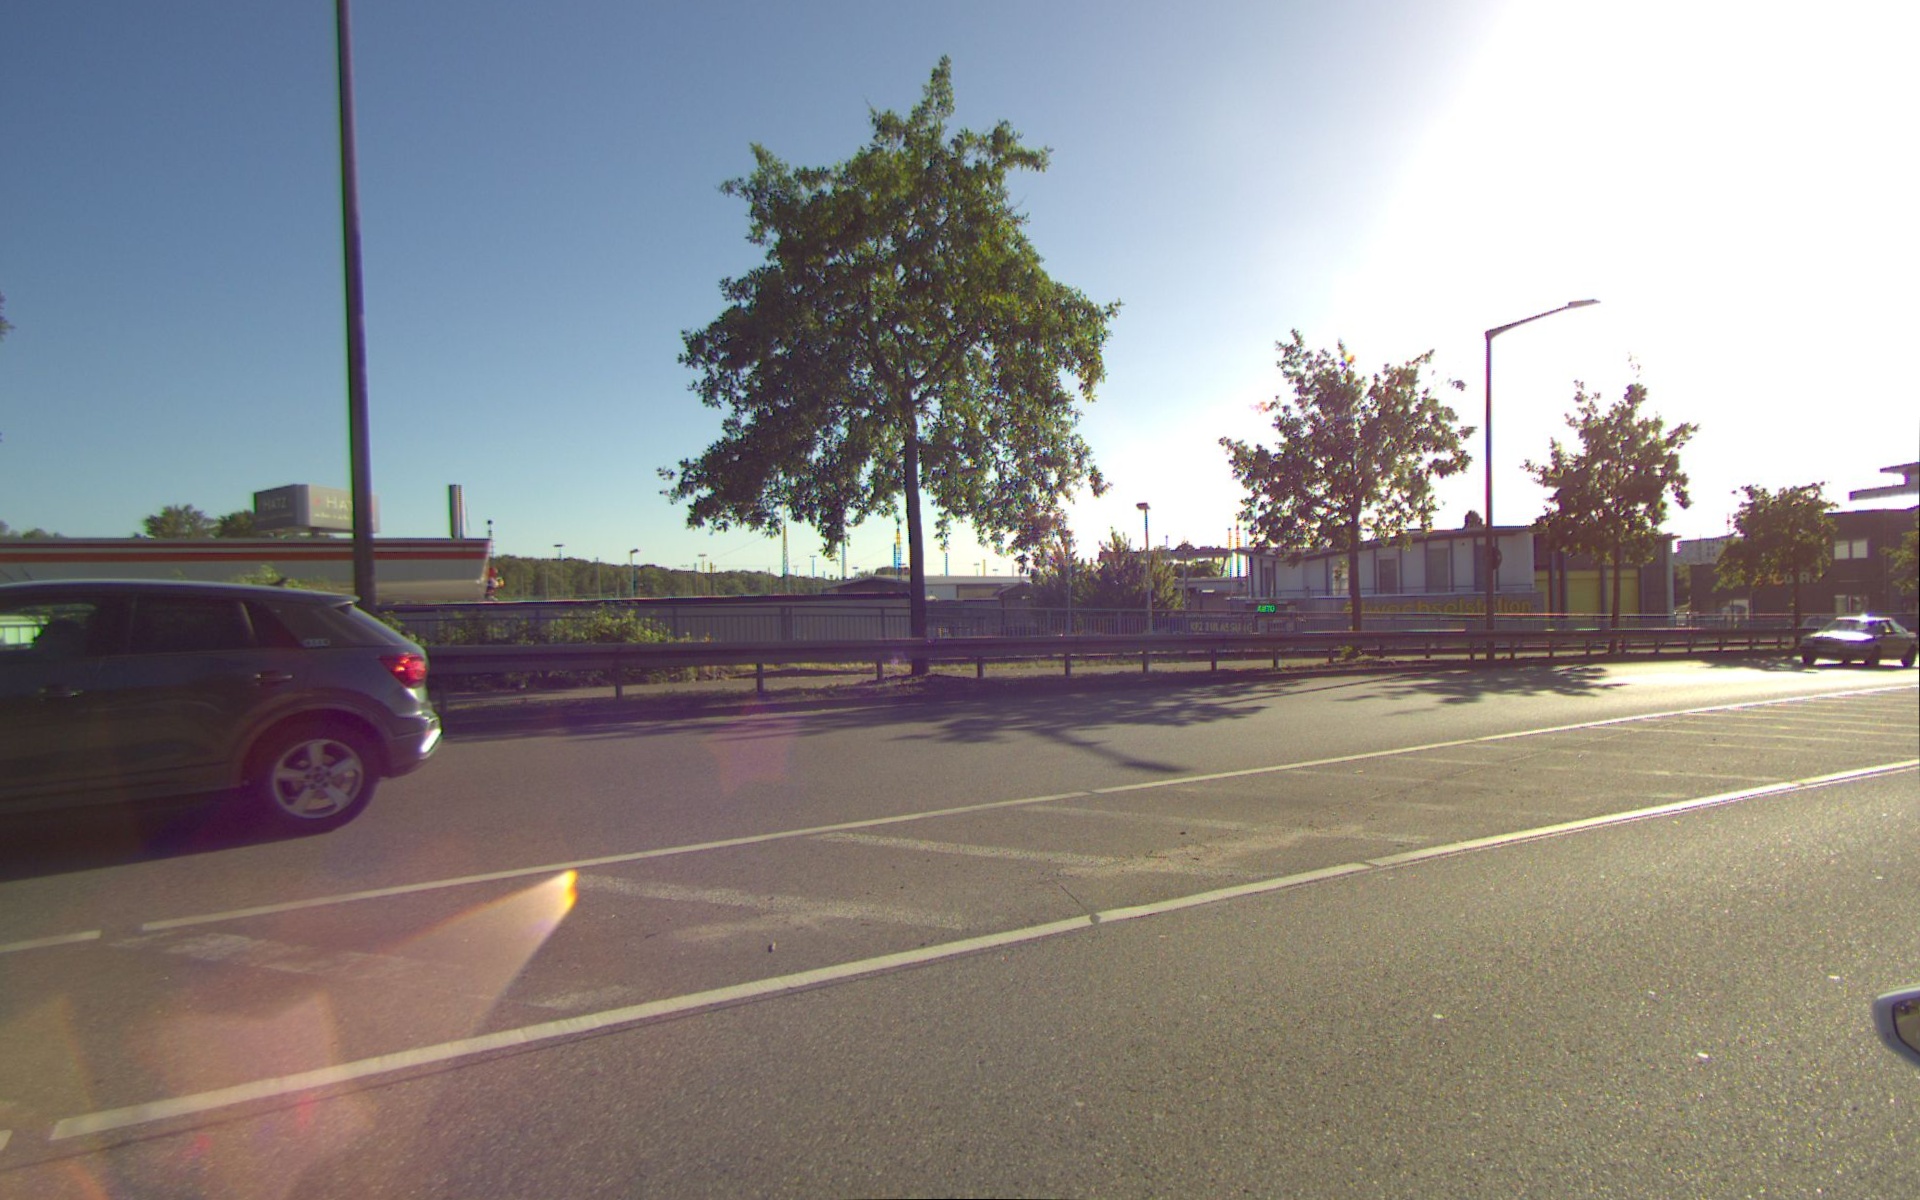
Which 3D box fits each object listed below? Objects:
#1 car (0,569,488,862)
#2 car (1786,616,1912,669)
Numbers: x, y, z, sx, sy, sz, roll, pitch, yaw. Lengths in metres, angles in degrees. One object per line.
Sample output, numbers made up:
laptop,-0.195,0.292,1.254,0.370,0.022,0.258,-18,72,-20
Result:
car,-5.307,0.582,5.986,4.238,1.509,1.749,1,0,-38
car,26.291,1.207,29.677,4.450,1.404,1.719,1,1,-34
